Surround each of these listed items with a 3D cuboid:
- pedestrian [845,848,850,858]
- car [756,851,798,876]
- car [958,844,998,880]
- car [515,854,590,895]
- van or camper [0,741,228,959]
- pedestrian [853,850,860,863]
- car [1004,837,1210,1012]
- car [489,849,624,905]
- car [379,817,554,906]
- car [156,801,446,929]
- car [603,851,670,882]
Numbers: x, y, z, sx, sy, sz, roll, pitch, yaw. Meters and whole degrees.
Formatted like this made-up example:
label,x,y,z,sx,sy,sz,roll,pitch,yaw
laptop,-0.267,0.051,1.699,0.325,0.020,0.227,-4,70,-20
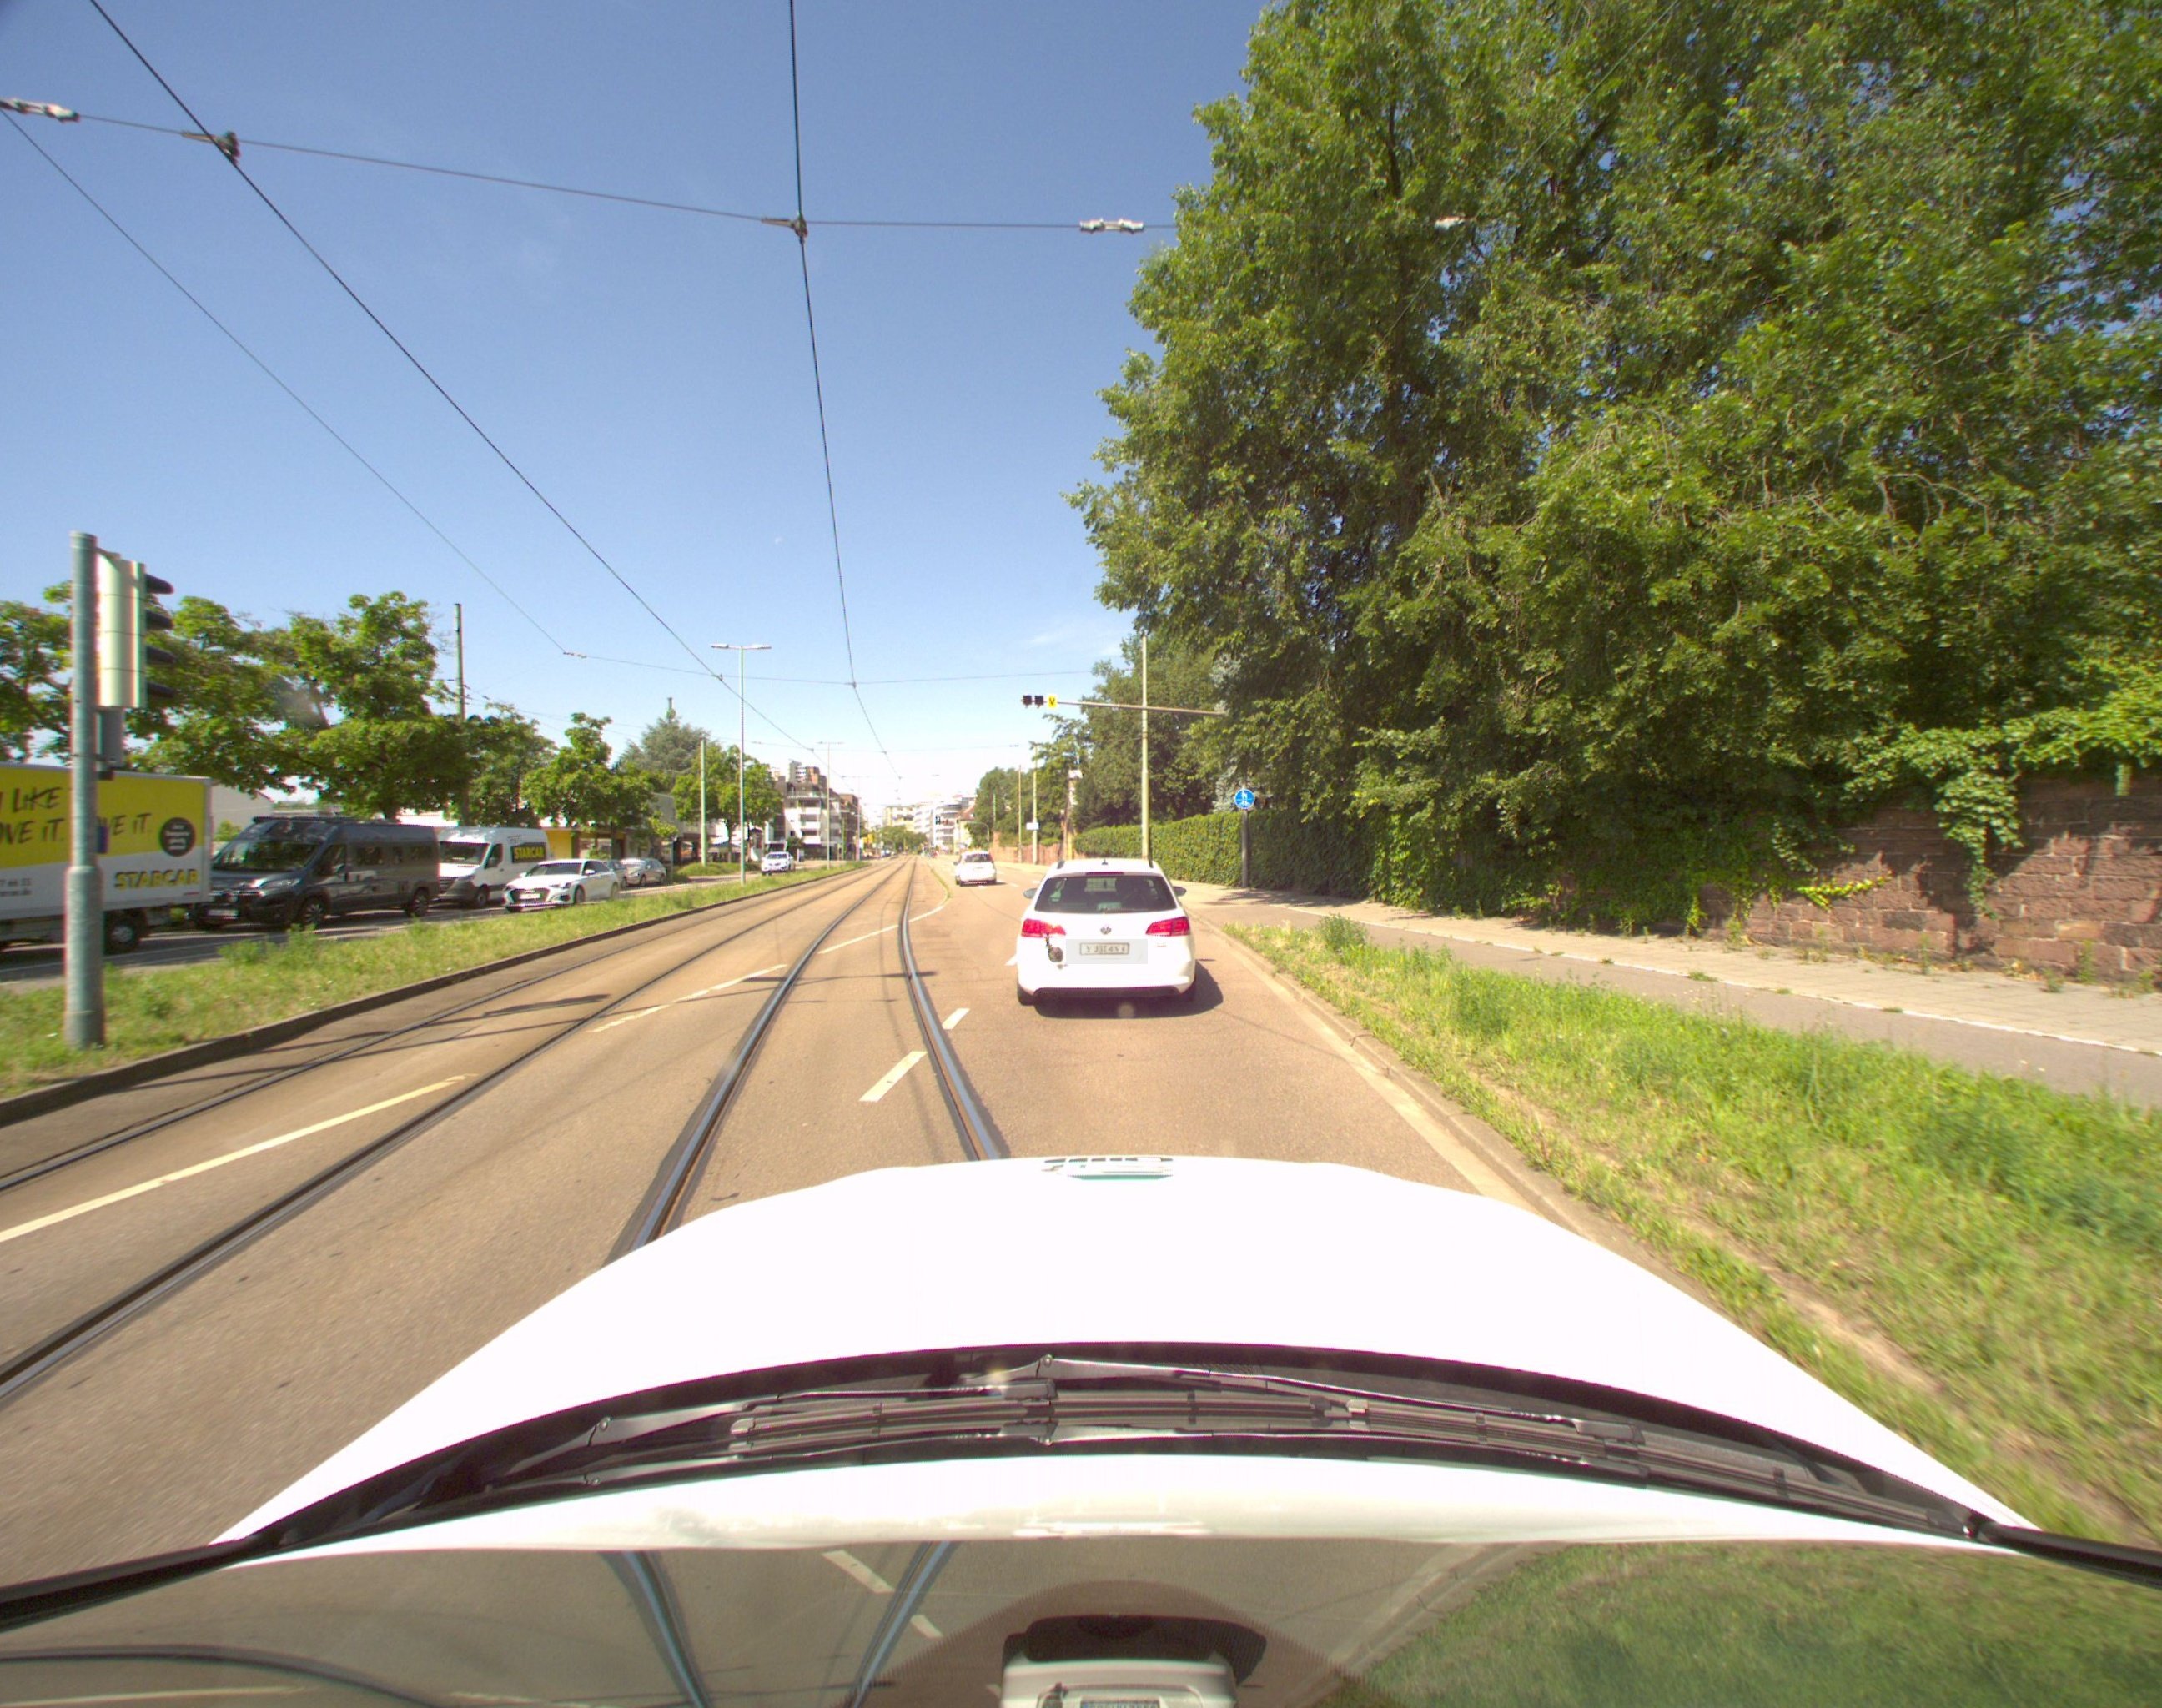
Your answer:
label,x,y,z,sx,sy,sz,roll,pitch,yaw
pedestrian,-48.442,-0.205,169.042,0.939,2.013,0.985,-2,0,-17
car,-21.370,0.643,57.420,2.044,1.597,4.641,-2,1,-12
car,-4.811,0.333,38.159,1.729,1.596,4.001,-1,1,-7
car,-21.151,0.765,32.715,1.293,1.490,3.660,-1,1,-13
van or camper,-17.221,-0.078,12.404,2.196,3.241,6.749,1,0,-10
pedestrian,-29.598,0.295,107.525,0.829,1.738,0.926,-2,0,-19
car,0.253,0.595,9.068,1.772,1.490,3.847,-1,1,1
car,-15.156,0.596,23.831,1.792,1.422,4.319,-1,1,-11
car,-20.108,0.197,27.104,2.197,2.630,5.957,1,0,-11
car,-18.737,0.212,20.157,2.197,2.668,6.057,1,0,-11
car,-23.128,0.635,42.547,1.604,1.490,4.602,1,0,-10
